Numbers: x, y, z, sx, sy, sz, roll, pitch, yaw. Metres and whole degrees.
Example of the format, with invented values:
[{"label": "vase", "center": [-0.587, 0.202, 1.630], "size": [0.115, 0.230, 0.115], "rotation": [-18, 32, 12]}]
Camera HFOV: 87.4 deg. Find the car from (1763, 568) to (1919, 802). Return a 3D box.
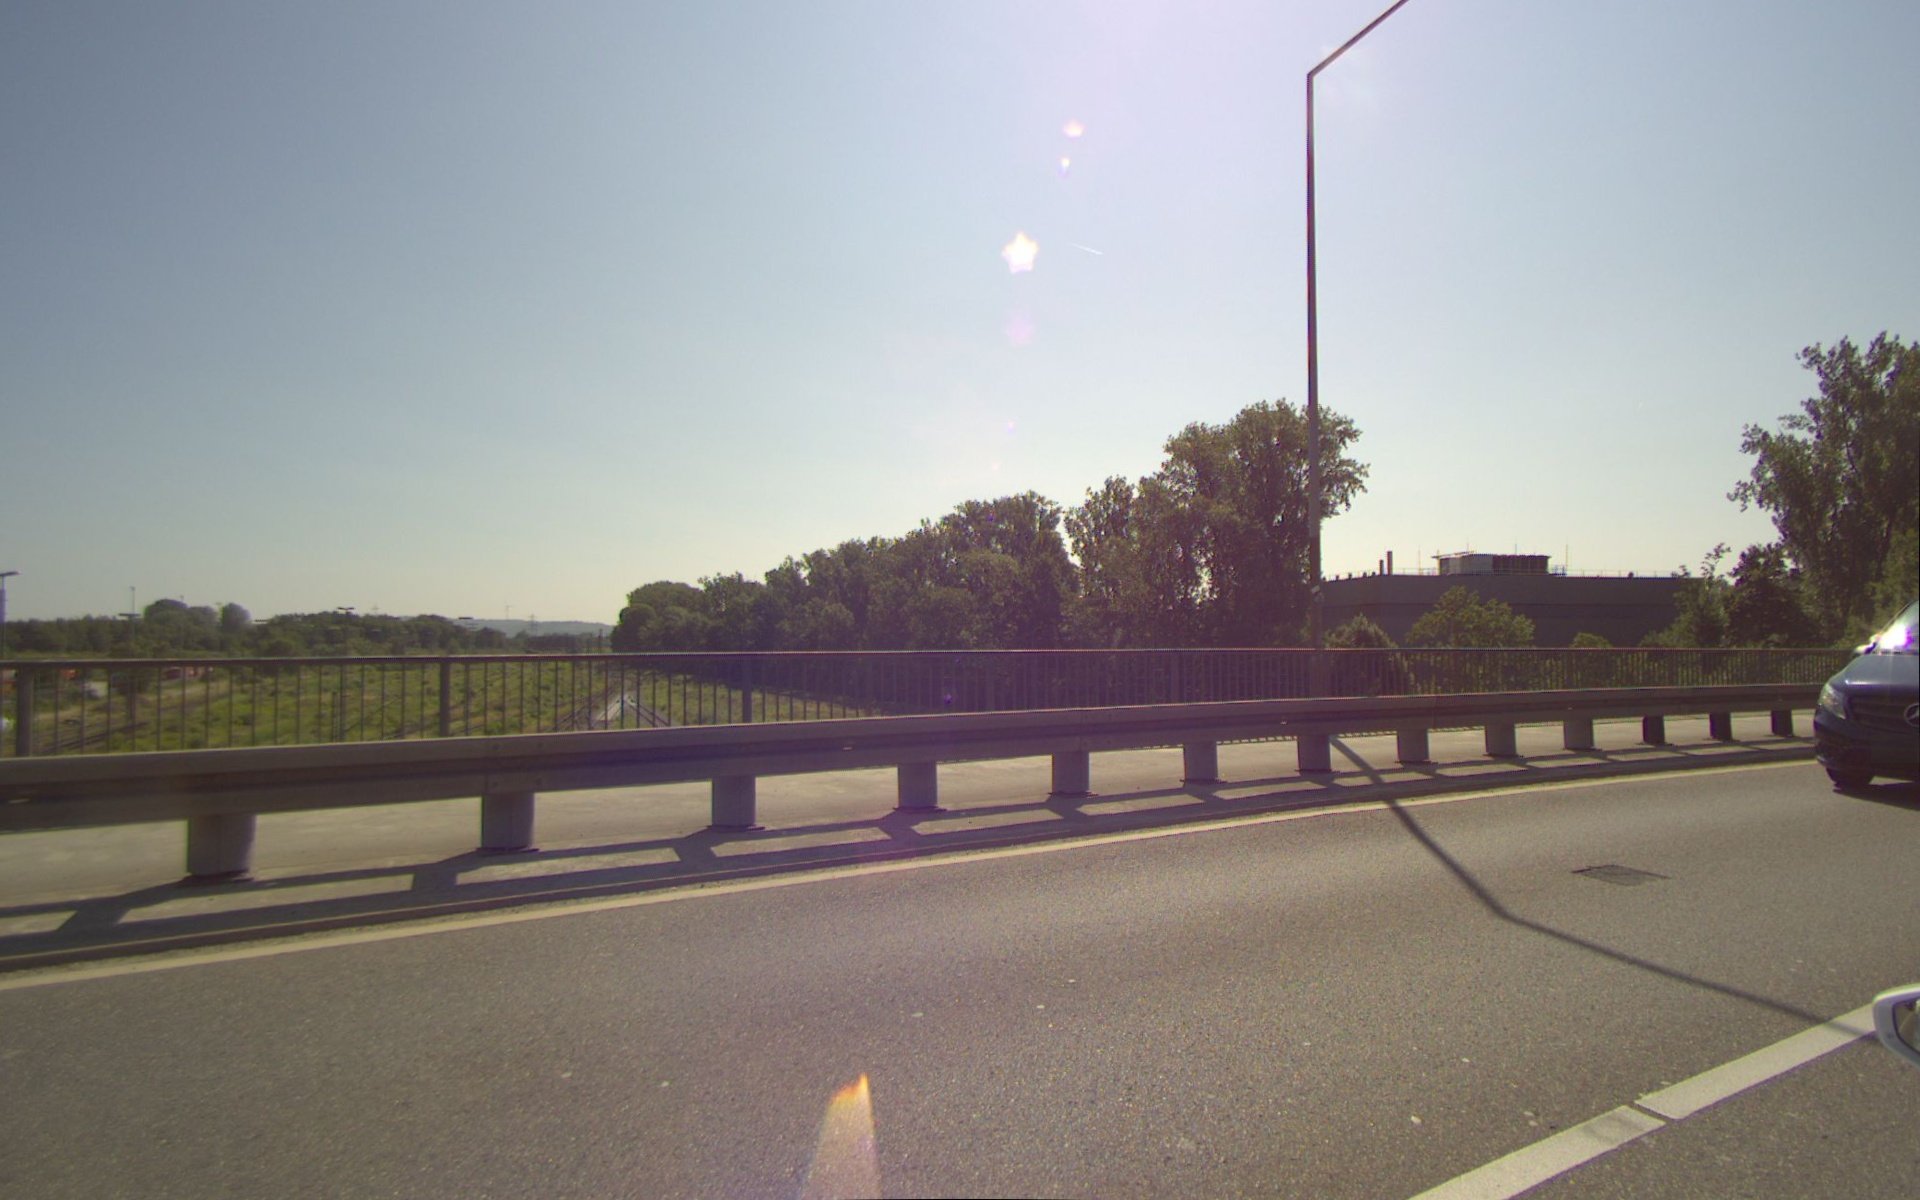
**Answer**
[{"label": "car", "center": [10.443, 0.769, 9.543], "size": [5.836, 1.914, 2.068], "rotation": [2, 0, -26]}]
